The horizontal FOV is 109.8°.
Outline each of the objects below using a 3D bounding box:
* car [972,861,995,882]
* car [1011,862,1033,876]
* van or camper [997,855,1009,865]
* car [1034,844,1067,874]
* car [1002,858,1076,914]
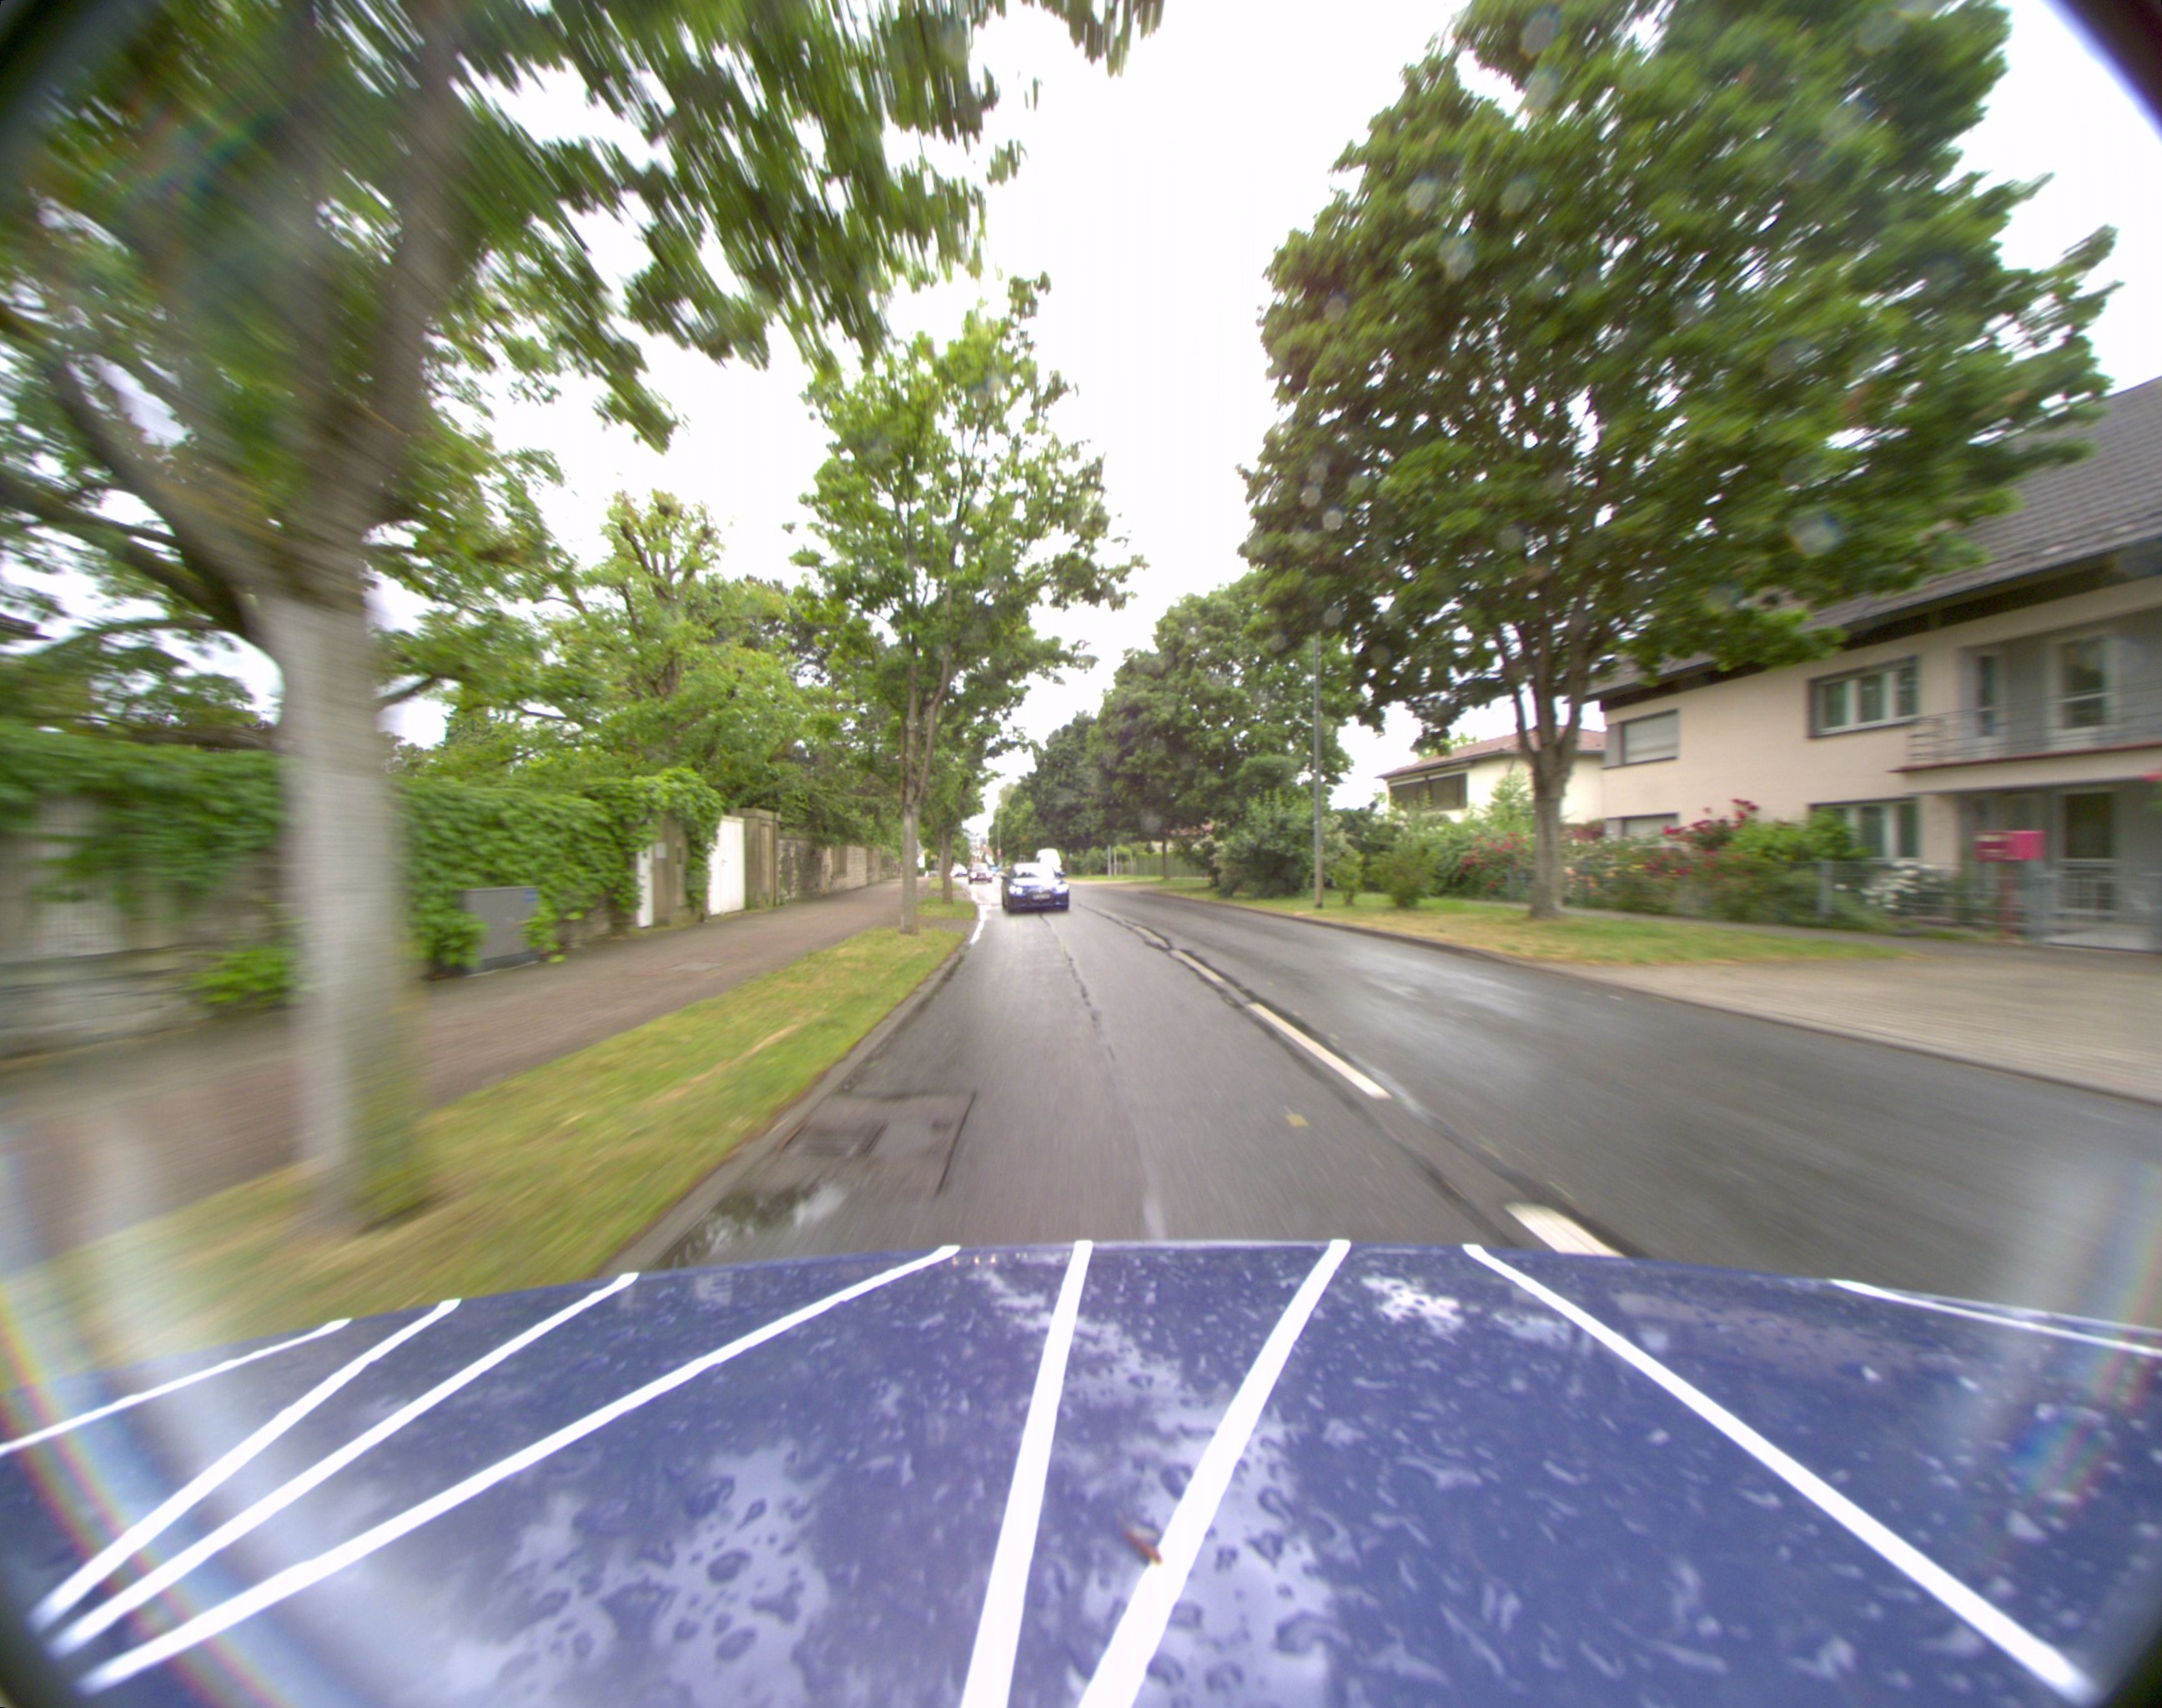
[{"bbox_3d":[-7.608,1.385,58.958,1.657,1.443,3.998,-3,-1,-8],"label":"car"},{"bbox_3d":[-6.733,1.736,86.199,1.849,1.457,4.246,-2,-1,-12],"label":"car"},{"bbox_3d":[-22.421,1.694,218.425,2.148,2.593,5.784,0,0,6],"label":"van or camper"},{"bbox_3d":[-2.768,0.462,67.707,2.000,2.546,5.228,-1,-1,-11],"label":"car"},{"bbox_3d":[-1.412,0.990,24.203,1.897,1.531,3.998,-3,-1,-9],"label":"car"}]
